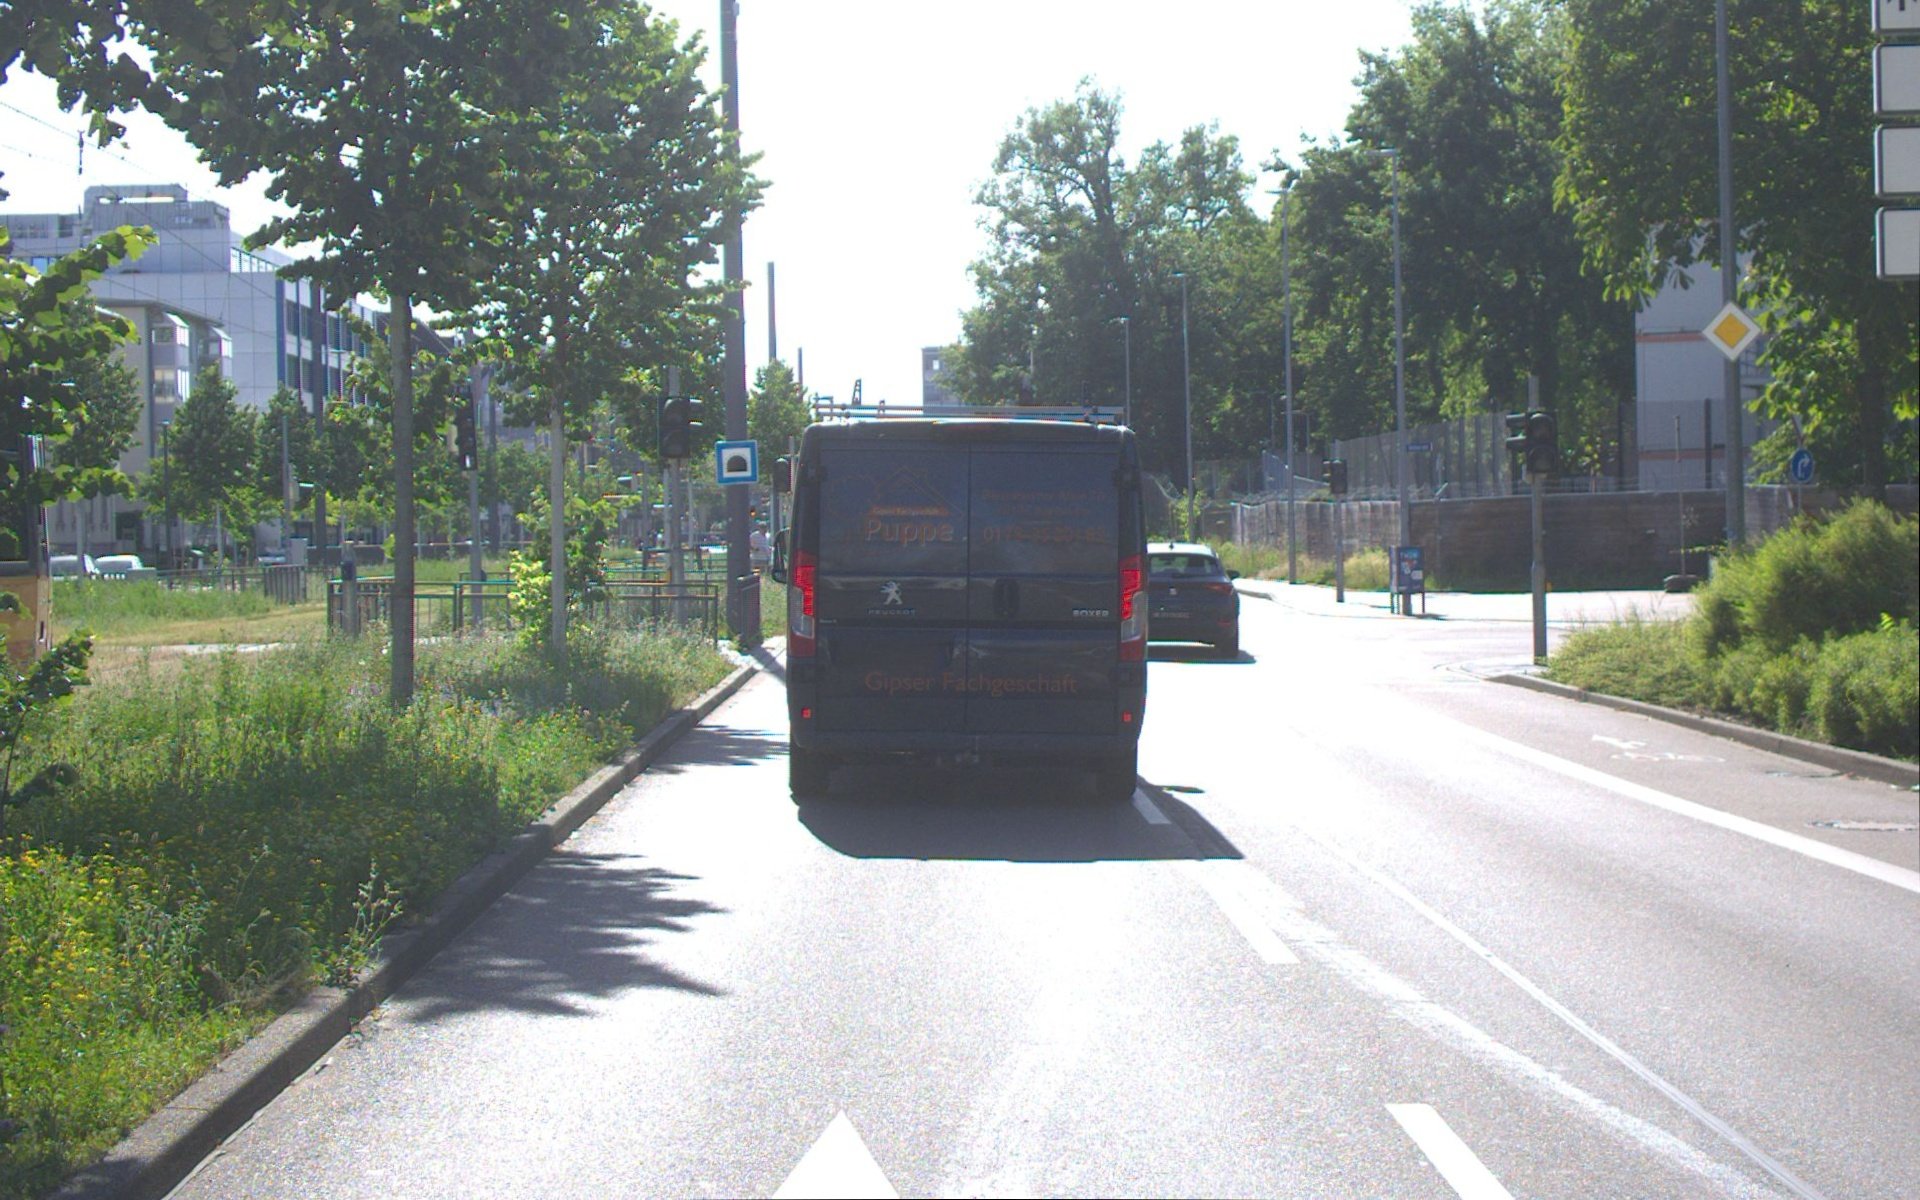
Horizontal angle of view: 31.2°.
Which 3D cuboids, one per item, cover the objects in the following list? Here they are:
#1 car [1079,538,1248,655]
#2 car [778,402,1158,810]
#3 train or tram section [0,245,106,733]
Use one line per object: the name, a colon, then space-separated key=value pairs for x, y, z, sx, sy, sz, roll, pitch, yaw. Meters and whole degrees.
car: x=2.625 y=-0.078 z=45.124 sx=1.763 sy=1.457 sz=4.001 roll=0 pitch=1 yaw=-3
car: x=-0.012 y=-0.002 z=20.889 sx=2.082 sy=2.241 sz=4.000 roll=0 pitch=1 yaw=-2
train or tram section: x=-8.145 y=-0.787 z=23.271 sx=1.993 sy=3.656 sz=11.684 roll=0 pitch=1 yaw=-1
